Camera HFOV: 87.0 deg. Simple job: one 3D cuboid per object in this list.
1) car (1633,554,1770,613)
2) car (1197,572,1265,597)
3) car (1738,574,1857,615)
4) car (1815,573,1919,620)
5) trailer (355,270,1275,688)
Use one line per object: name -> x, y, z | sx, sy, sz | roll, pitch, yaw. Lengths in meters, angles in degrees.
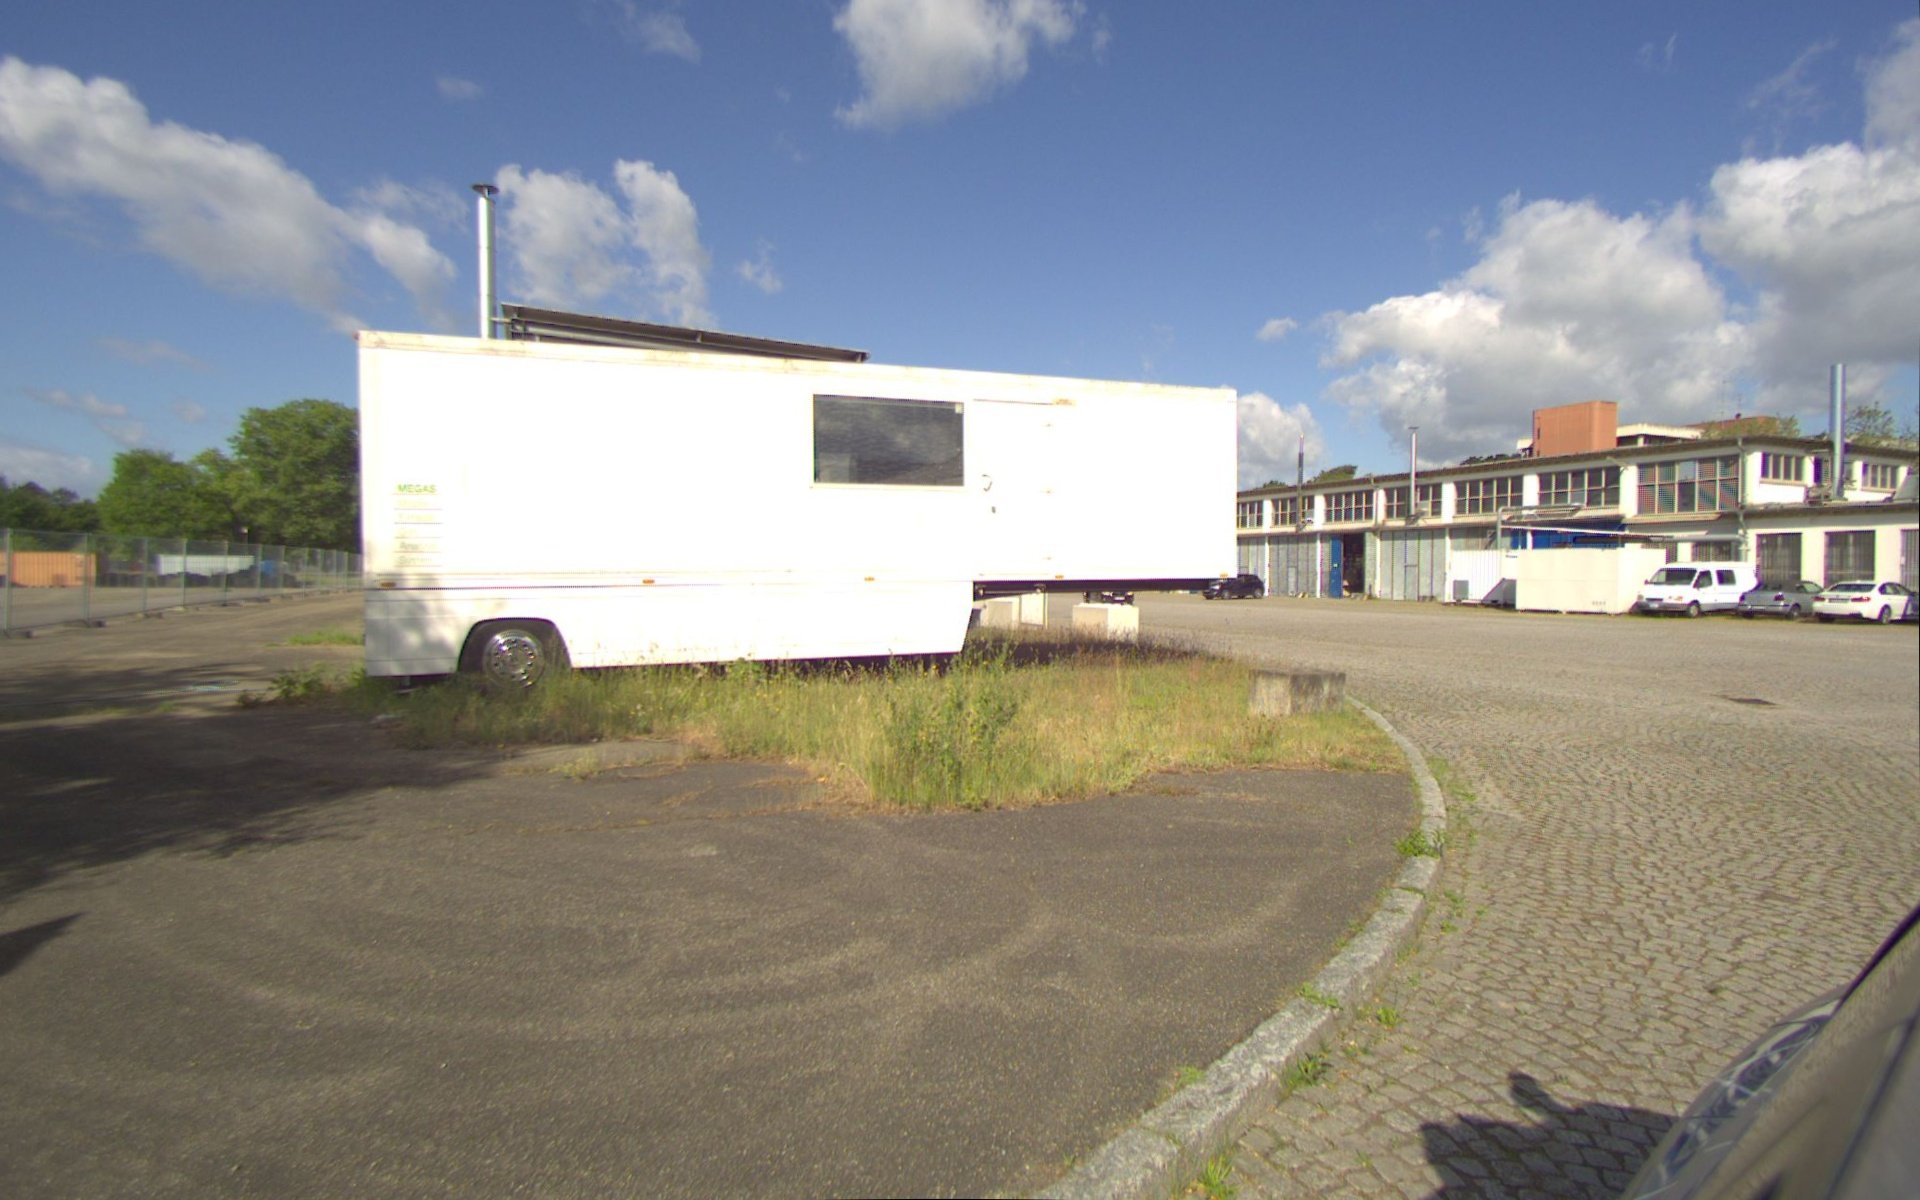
car -> 28.634, -0.660, 39.078 | 4.704, 2.107, 2.014 | -1, 1, -20
car -> 17.226, -0.986, 64.341 | 3.992, 1.488, 1.744 | -1, 1, -25
car -> 30.340, -0.238, 36.682 | 3.751, 1.416, 1.696 | -1, 2, -21
car -> 30.601, -0.155, 33.670 | 3.661, 1.423, 1.741 | -2, 1, -21
trailer -> -1.270, -1.224, 12.845 | 10.658, 3.960, 2.787 | -1, 1, -21
